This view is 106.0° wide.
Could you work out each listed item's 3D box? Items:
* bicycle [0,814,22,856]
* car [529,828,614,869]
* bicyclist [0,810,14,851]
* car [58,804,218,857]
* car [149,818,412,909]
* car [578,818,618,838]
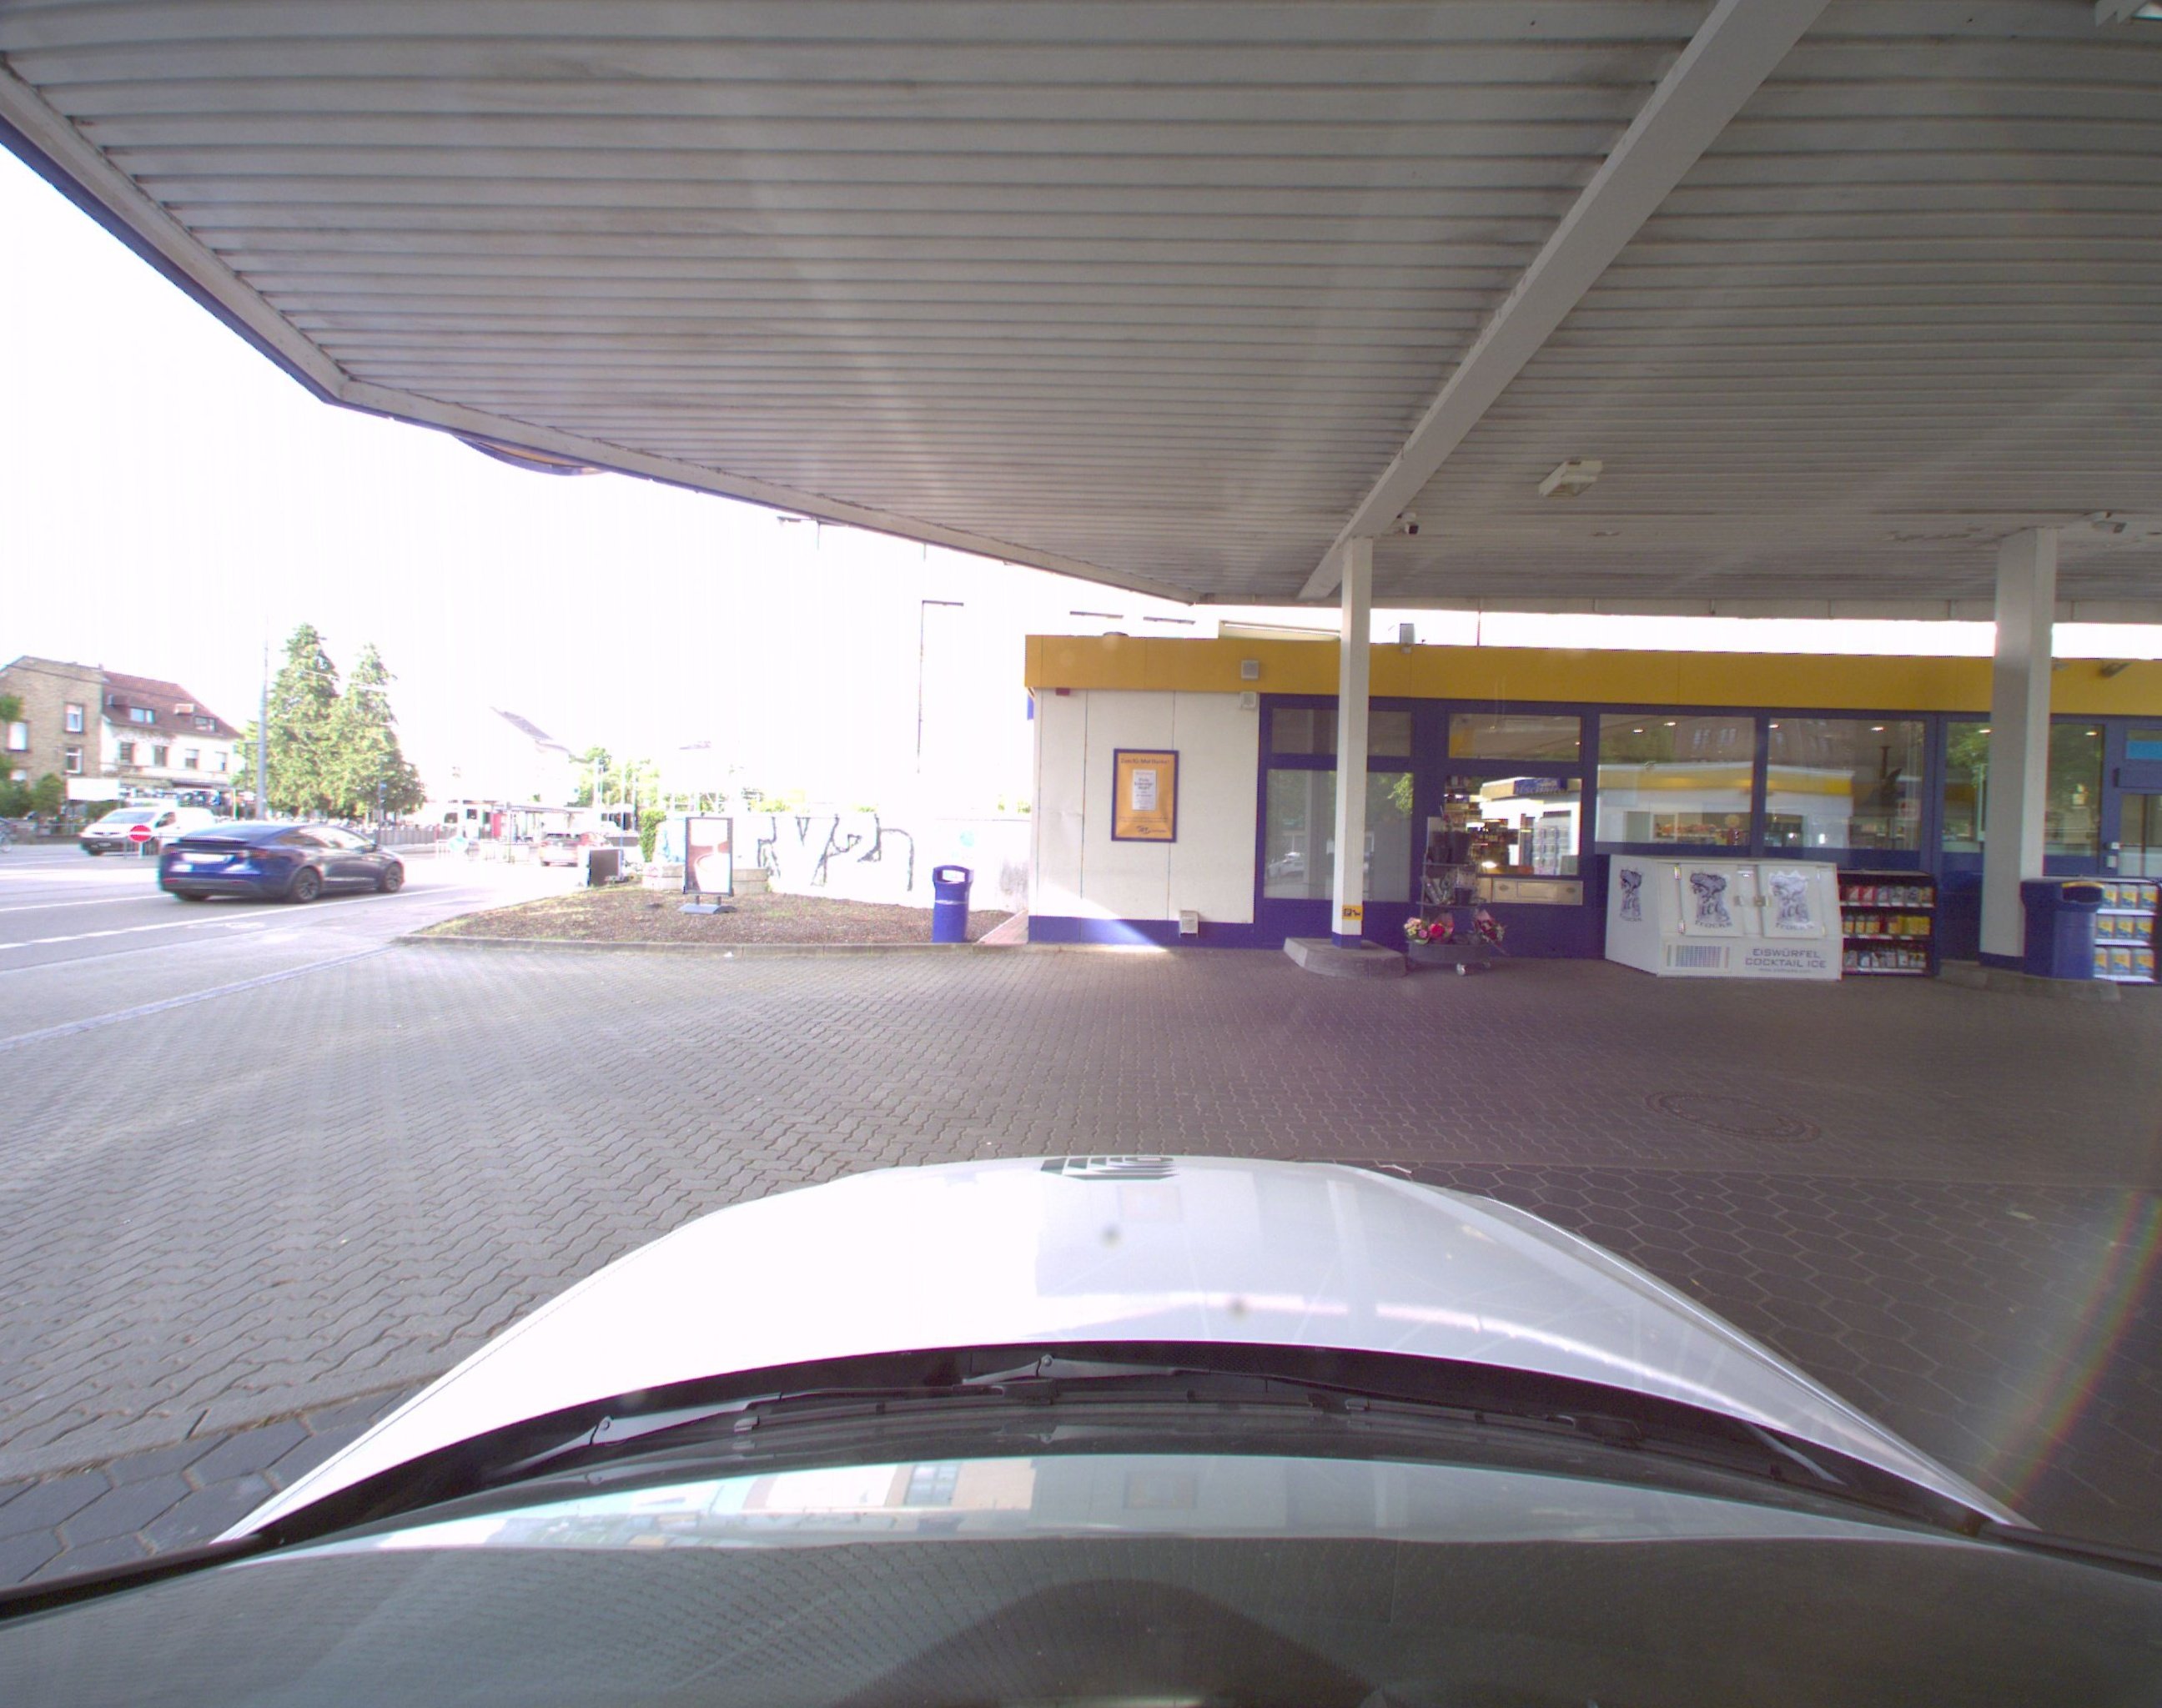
[{"bbox_3d":[-39.621,-0.695,29.514,0.791,1.492,1.972,4,0,-31],"label":"bicycle"},{"bbox_3d":[-20.959,-0.245,33.696,1.767,1.543,4.111,2,0,-15],"label":"car"},{"bbox_3d":[-39.600,-0.873,29.471,0.791,1.492,1.086,4,0,-30],"label":"bicyclist"},{"bbox_3d":[-36.596,-0.876,31.797,1.966,1.889,4.387,1,0,-16],"label":"car"},{"bbox_3d":[-16.925,0.148,17.636,1.766,1.657,4.829,2,0,-14],"label":"car"},{"bbox_3d":[-50.221,-2.727,84.754,1.994,1.968,4.873,1,1,-10],"label":"car"}]
